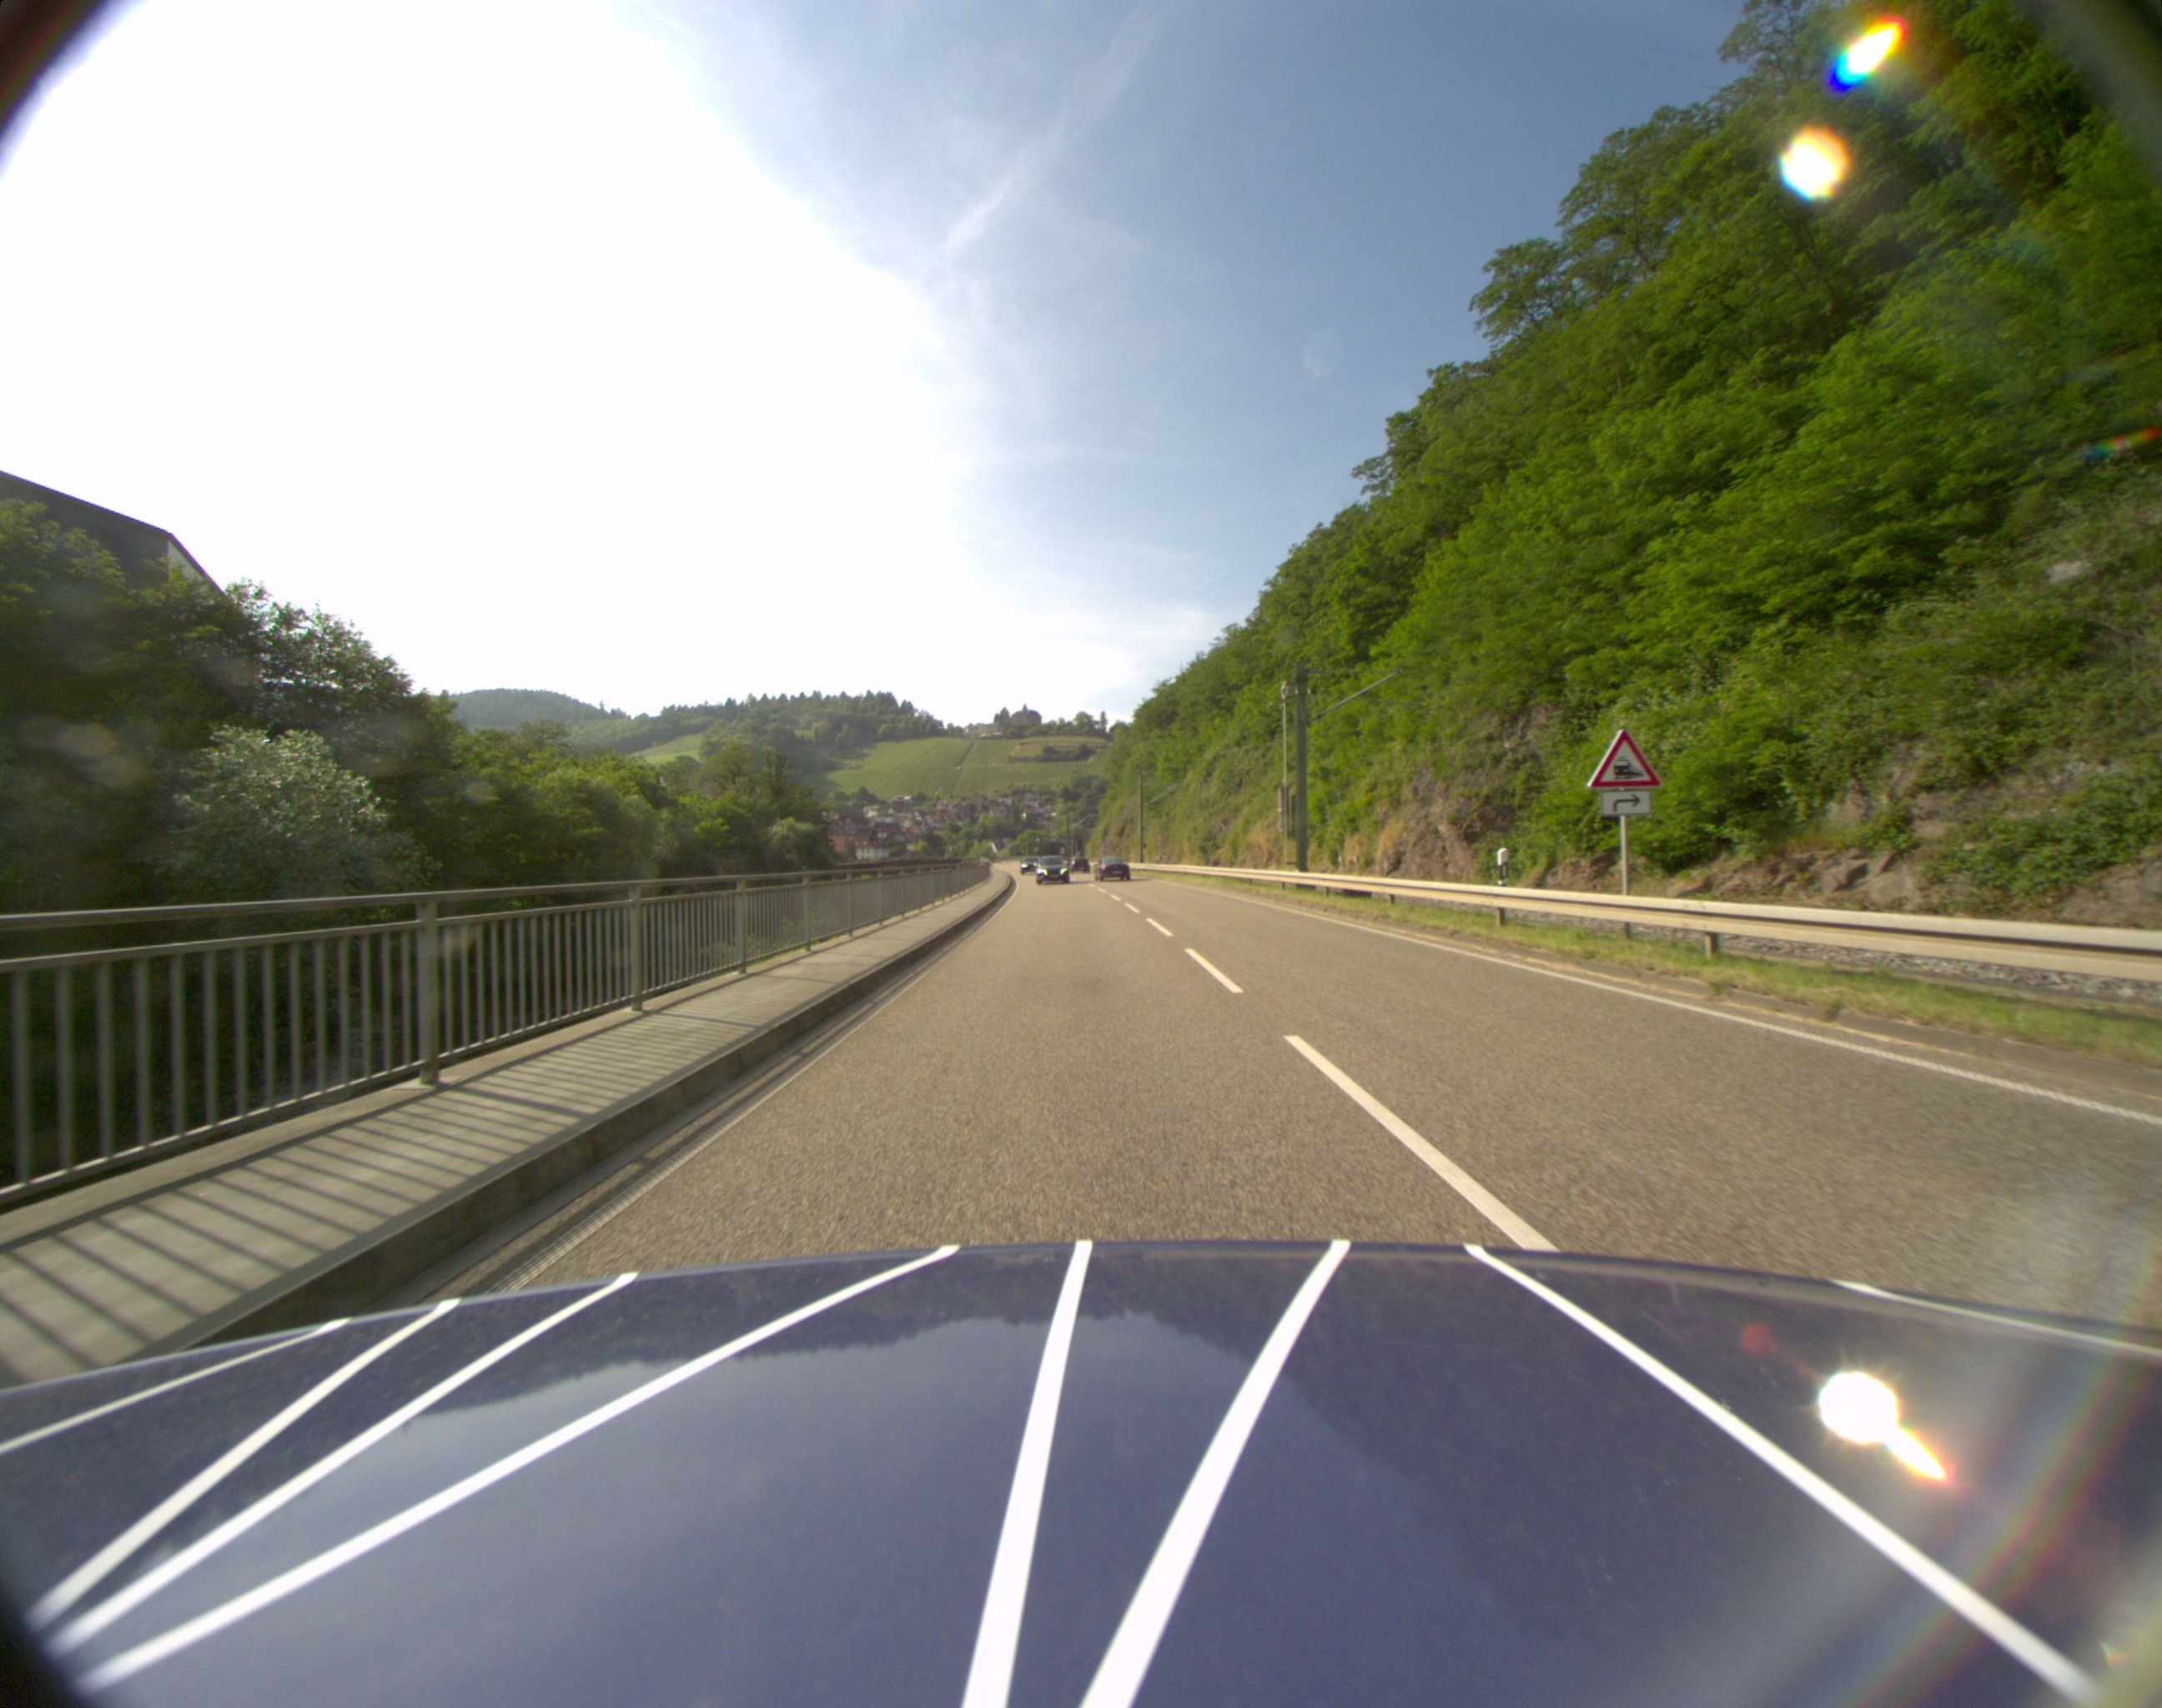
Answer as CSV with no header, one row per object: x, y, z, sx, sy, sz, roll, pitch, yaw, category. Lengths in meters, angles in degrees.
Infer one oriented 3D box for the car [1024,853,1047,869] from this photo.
-4.283,0.645,71.102,2.000,1.384,3.998,-1,-1,-6,car

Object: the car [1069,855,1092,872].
-0.051,0.874,69.357,1.852,1.431,3.896,-1,-1,-4,car

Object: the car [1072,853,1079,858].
-1.582,0.596,236.645,2.068,1.431,4.686,1,0,0,car

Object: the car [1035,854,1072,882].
-1.689,0.842,45.517,1.864,1.576,3.998,-1,-1,-7,car

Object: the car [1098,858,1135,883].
2.109,0.959,46.127,1.852,1.394,4.475,-2,0,-2,car
